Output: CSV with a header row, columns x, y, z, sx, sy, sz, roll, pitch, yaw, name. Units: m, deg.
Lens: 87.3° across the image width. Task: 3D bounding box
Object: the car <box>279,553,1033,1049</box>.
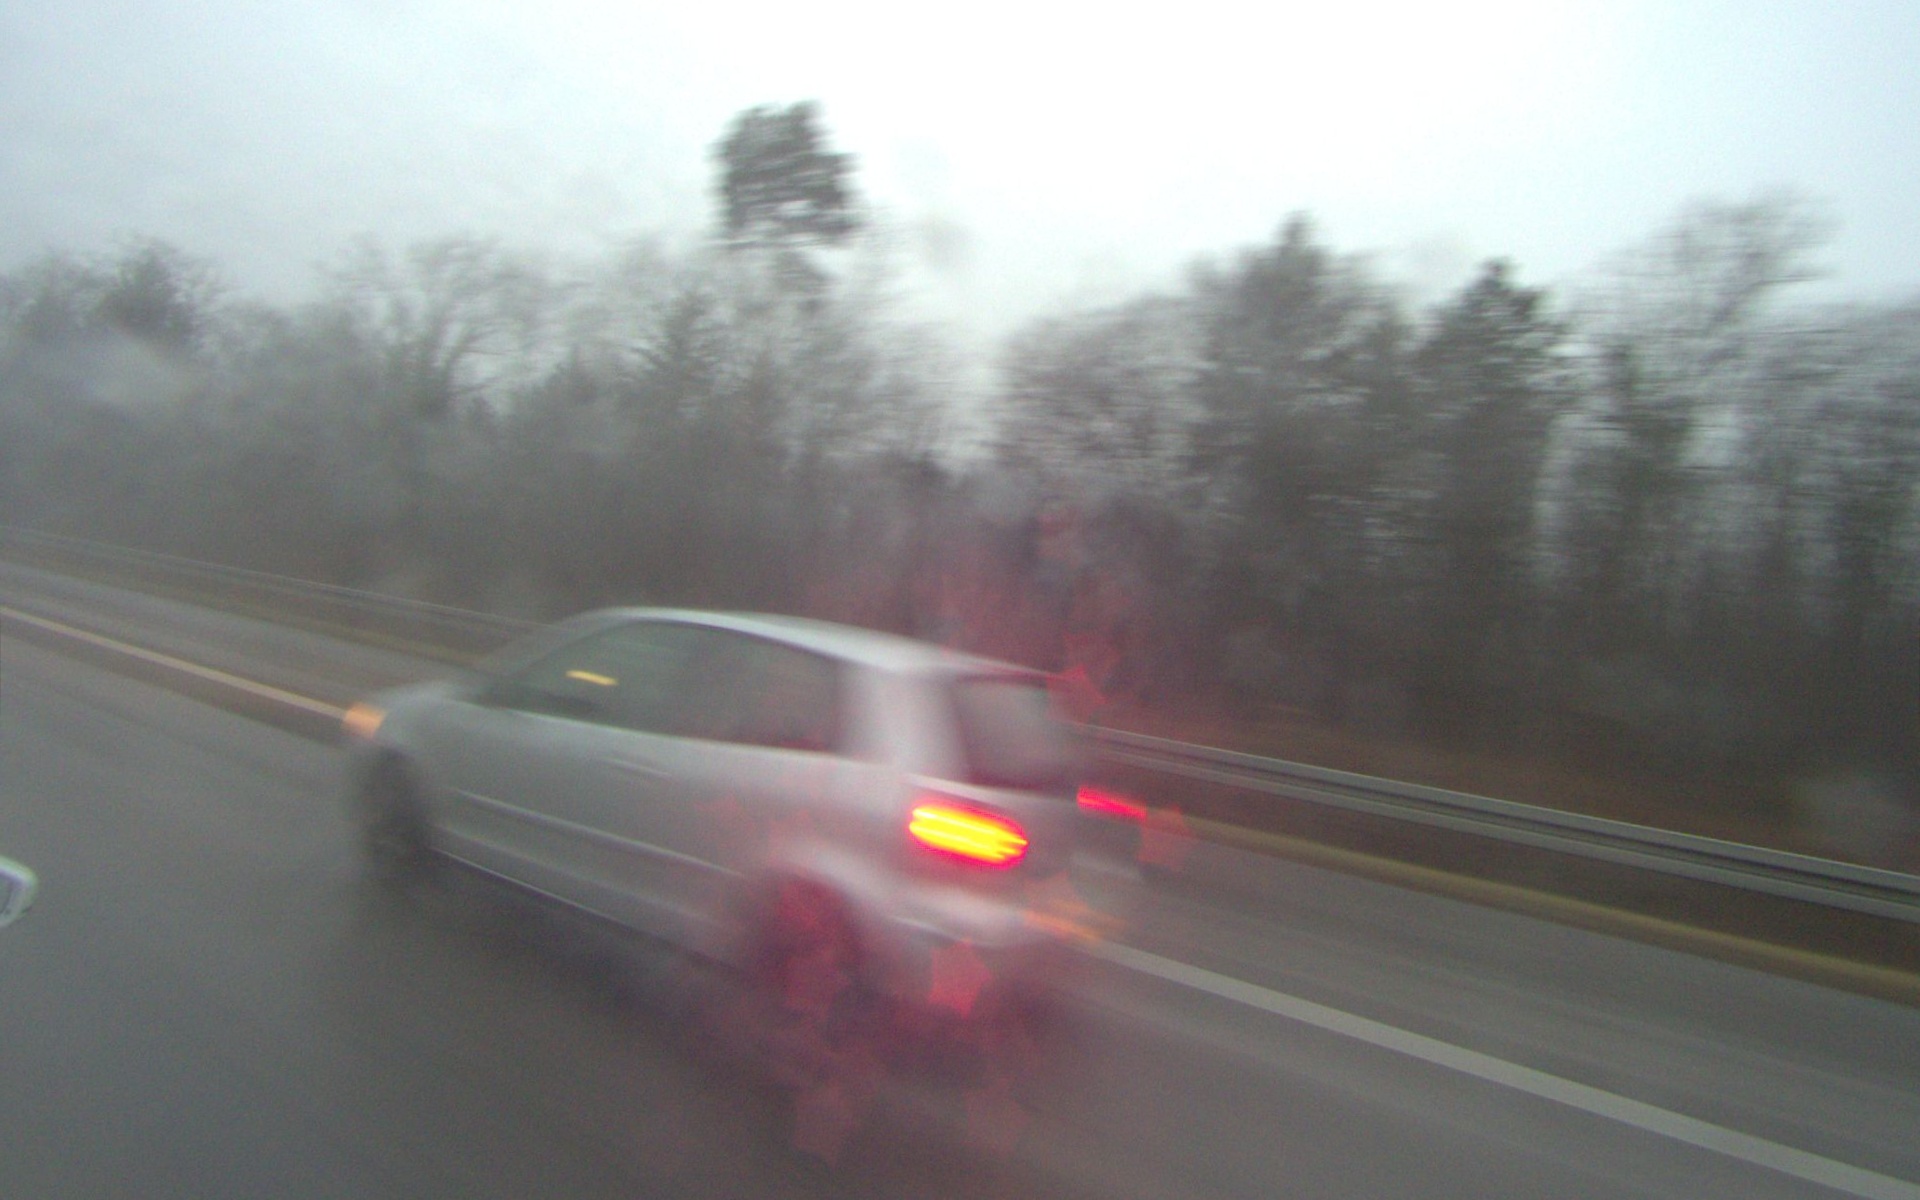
x,y,z,sx,sy,sz,roll,pitch,yaw,name
-1.519,0.662,4.795,3.250,1.383,1.600,7,1,32,car
